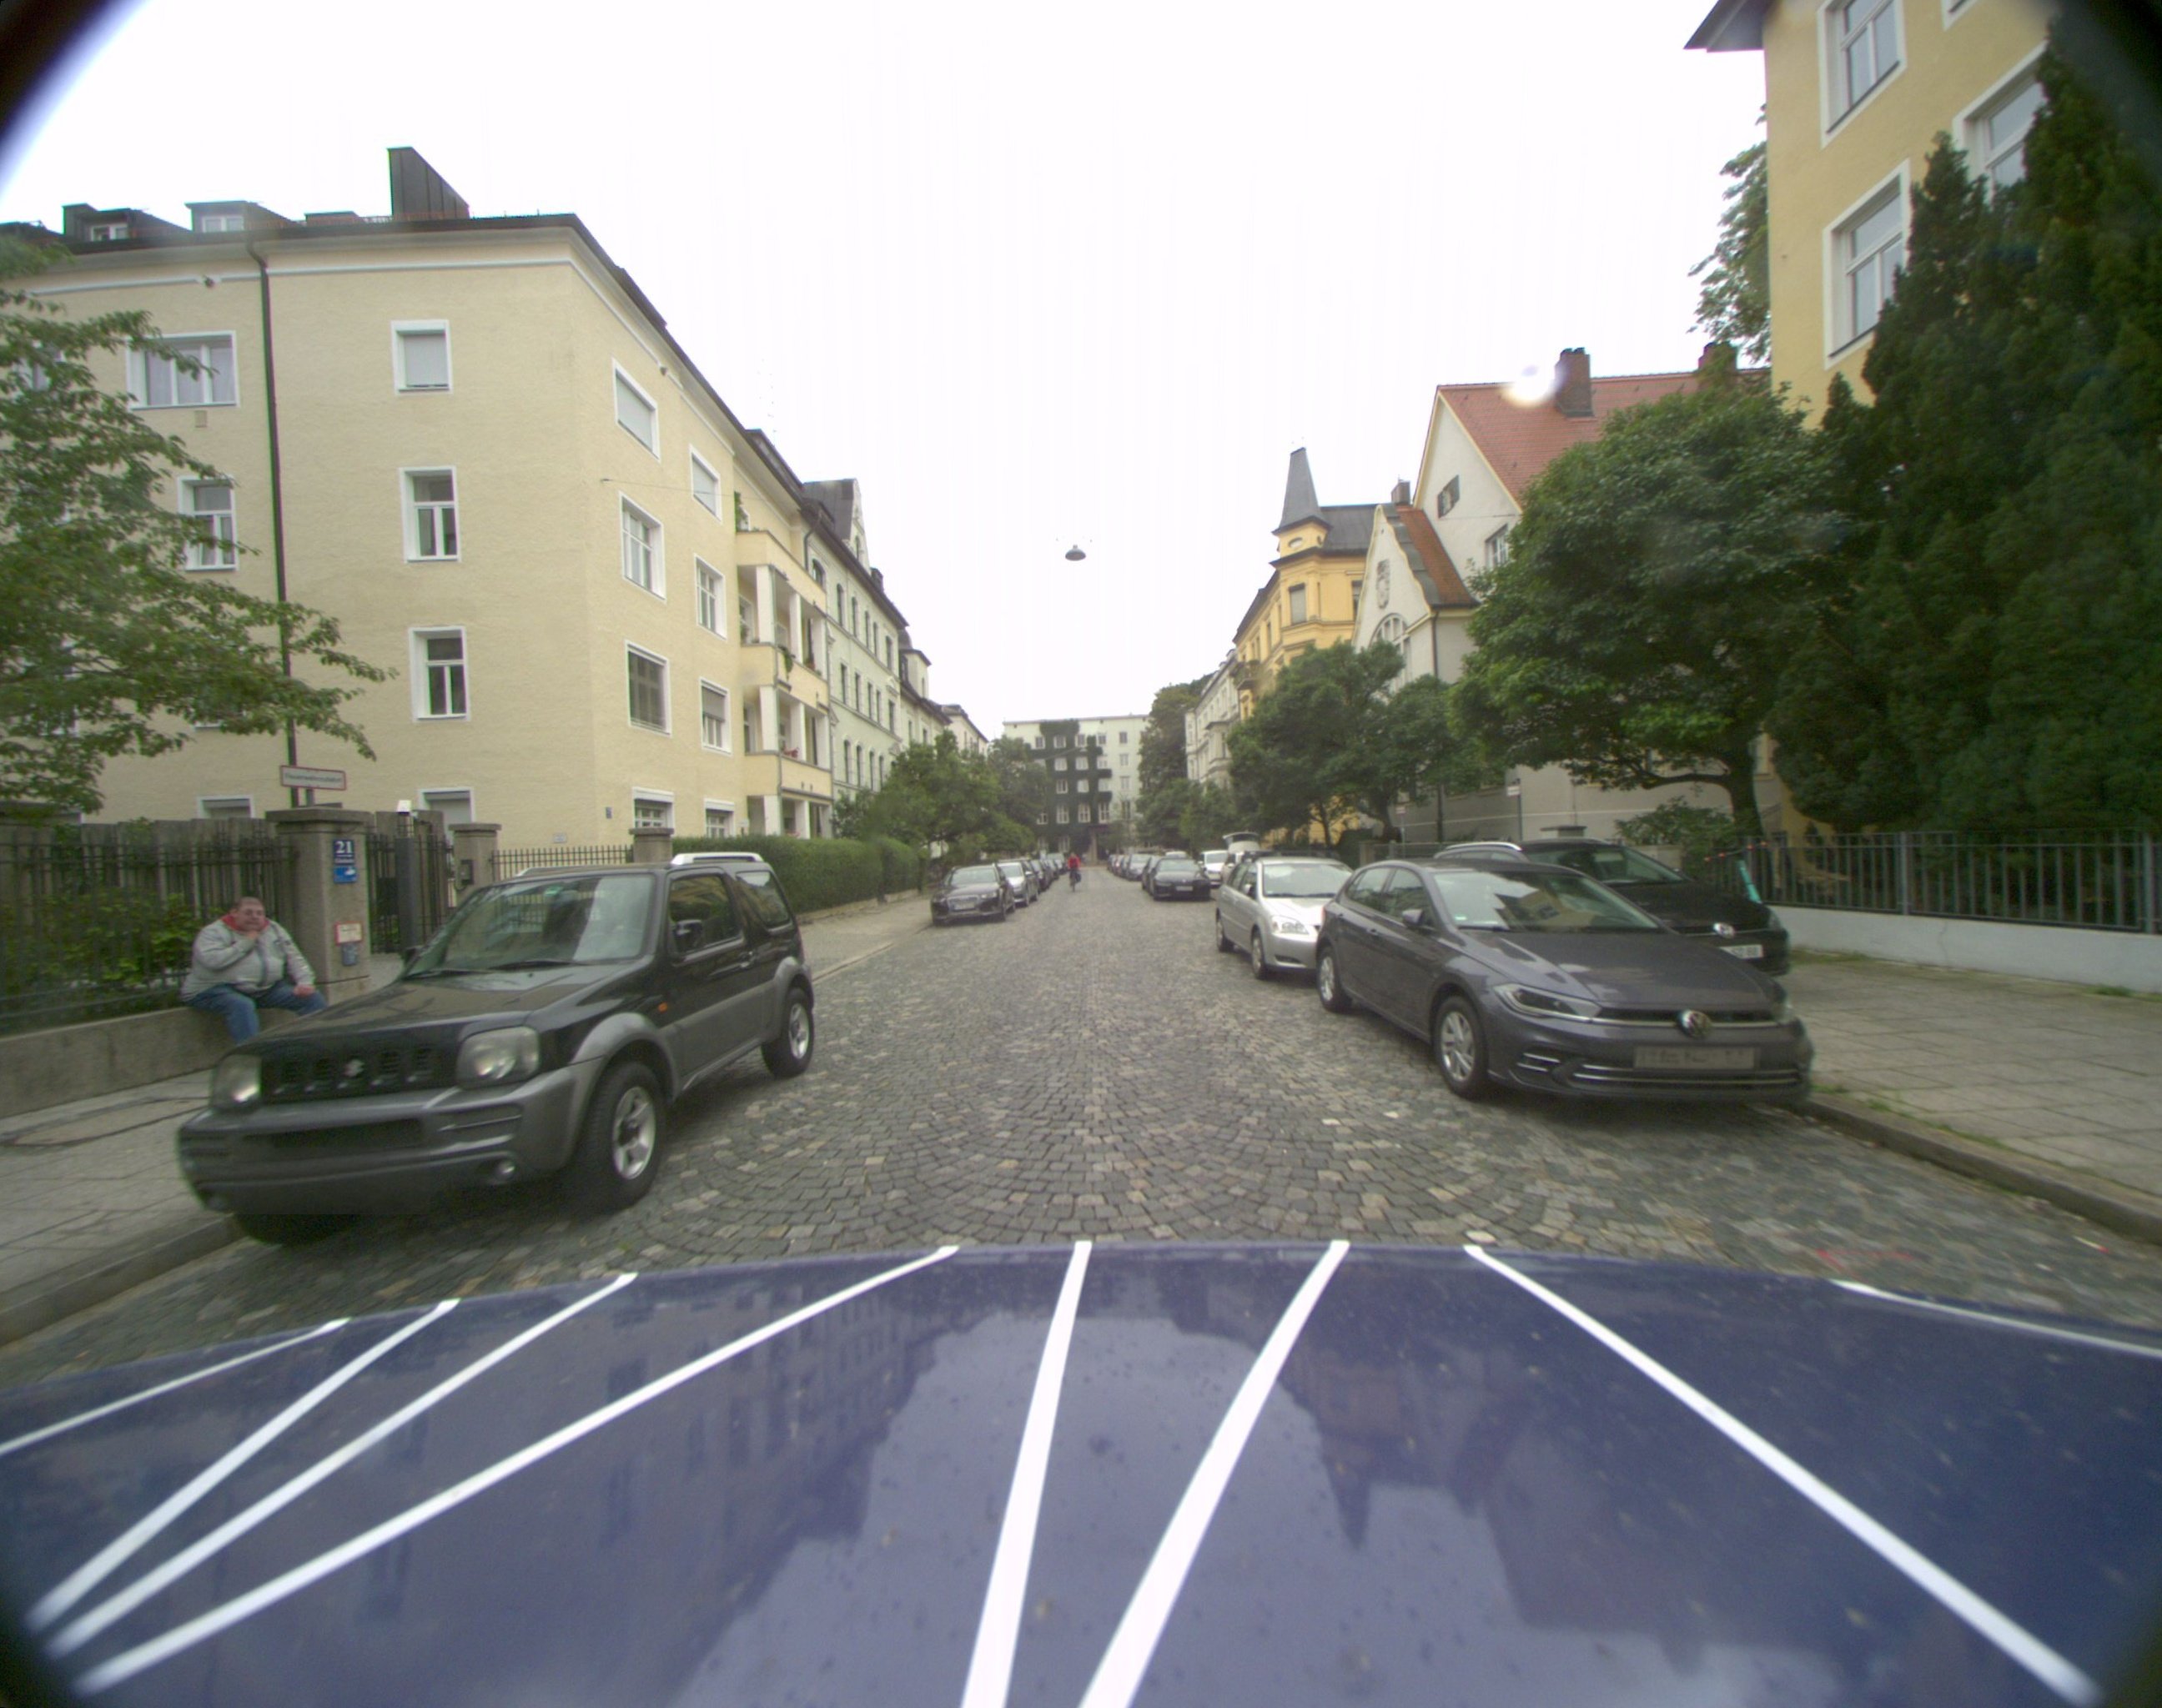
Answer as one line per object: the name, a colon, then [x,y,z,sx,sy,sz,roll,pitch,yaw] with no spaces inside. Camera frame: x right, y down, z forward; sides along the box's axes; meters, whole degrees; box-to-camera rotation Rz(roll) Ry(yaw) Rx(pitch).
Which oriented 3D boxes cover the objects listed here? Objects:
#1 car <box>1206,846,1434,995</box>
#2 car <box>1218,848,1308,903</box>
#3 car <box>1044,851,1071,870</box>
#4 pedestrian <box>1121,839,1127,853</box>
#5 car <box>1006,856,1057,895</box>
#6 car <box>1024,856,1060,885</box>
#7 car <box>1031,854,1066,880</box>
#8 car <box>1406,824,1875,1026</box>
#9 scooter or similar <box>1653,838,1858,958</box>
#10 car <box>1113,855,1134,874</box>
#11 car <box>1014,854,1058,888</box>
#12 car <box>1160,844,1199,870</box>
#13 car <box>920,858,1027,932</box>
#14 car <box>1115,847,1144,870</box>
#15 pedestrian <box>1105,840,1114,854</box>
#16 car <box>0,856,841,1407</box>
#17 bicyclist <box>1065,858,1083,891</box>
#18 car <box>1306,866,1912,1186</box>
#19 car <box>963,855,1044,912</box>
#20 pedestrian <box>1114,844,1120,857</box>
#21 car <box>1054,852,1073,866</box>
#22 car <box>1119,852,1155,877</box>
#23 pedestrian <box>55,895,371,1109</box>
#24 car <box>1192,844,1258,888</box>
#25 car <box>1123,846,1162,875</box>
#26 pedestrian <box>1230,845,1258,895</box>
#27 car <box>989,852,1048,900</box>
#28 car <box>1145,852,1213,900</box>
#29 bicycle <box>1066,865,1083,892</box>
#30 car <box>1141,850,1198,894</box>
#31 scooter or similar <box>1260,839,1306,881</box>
car: [2.881,0.685,10.205,1.718,1.553,4.390,-1,1,1]
car: [5.577,0.593,23.845,1.780,1.408,4.561,-4,0,2]
car: [-2.023,0.559,67.485,1.942,1.457,4.532,-5,0,3]
pedestrian: [6.214,-1.123,109.788,0.666,1.905,0.863,-5,1,9]
car: [-2.271,0.948,36.112,1.823,1.480,5.049,-6,1,1]
car: [-2.313,0.958,46.501,1.760,1.451,4.480,-5,1,1]
car: [-2.164,0.839,52.164,1.909,1.494,5.105,-6,1,1]
car: [5.526,0.560,8.494,1.719,1.489,4.721,-5,0,1]
scooter or similar: [7.738,0.466,8.836,0.958,1.193,1.522,-5,1,1]
car: [3.721,0.888,66.742,1.814,1.490,4.510,-2,1,3]
car: [-2.382,0.869,41.328,1.887,1.480,4.813,-5,1,1]
car: [6.086,0.151,47.355,1.846,1.457,4.389,-4,1,1]
car: [-2.765,1.002,20.753,1.998,1.543,5.014,-5,0,1]
car: [3.544,0.296,56.044,1.846,1.577,4.191,-2,1,0]
pedestrian: [4.125,-1.015,109.731,0.703,1.905,0.861,-6,2,-30]
car: [-2.952,0.971,4.585,1.623,1.741,3.886,-6,0,0]
bicyclist: [-0.292,0.882,32.691,0.648,1.350,0.656,-4,1,0]
car: [3.084,0.850,5.567,1.734,1.410,3.936,-1,1,1]
car: [-2.529,0.919,25.970,1.998,1.543,4.986,-5,0,2]
pedestrian: [5.190,-0.515,109.990,0.701,1.905,0.863,-5,1,4]
car: [-1.743,0.508,78.221,1.744,1.367,4.181,-2,1,1]
car: [3.641,0.644,50.264,1.875,1.461,5.132,-2,1,-1]
pedestrian: [-6.872,1.114,6.117,1.219,1.484,1.129,-1,1,3]
car: [5.771,0.425,30.999,1.744,1.527,4.466,-4,1,0]
car: [3.502,0.351,44.145,1.744,1.577,4.191,-2,1,-2]
pedestrian: [5.583,0.543,26.001,0.768,1.640,0.582,-4,1,2]
car: [-2.471,0.837,30.908,1.898,1.644,4.293,-4,1,1]
car: [3.226,0.667,25.931,1.819,1.447,4.912,0,1,2]
bicycle: [-0.285,1.047,32.735,0.636,1.021,1.955,-4,1,0]
car: [3.515,0.670,30.925,1.744,1.594,4.536,-2,1,0]
scooter or similar: [7.797,0.216,29.423,1.064,1.514,2.634,-3,1,1]
